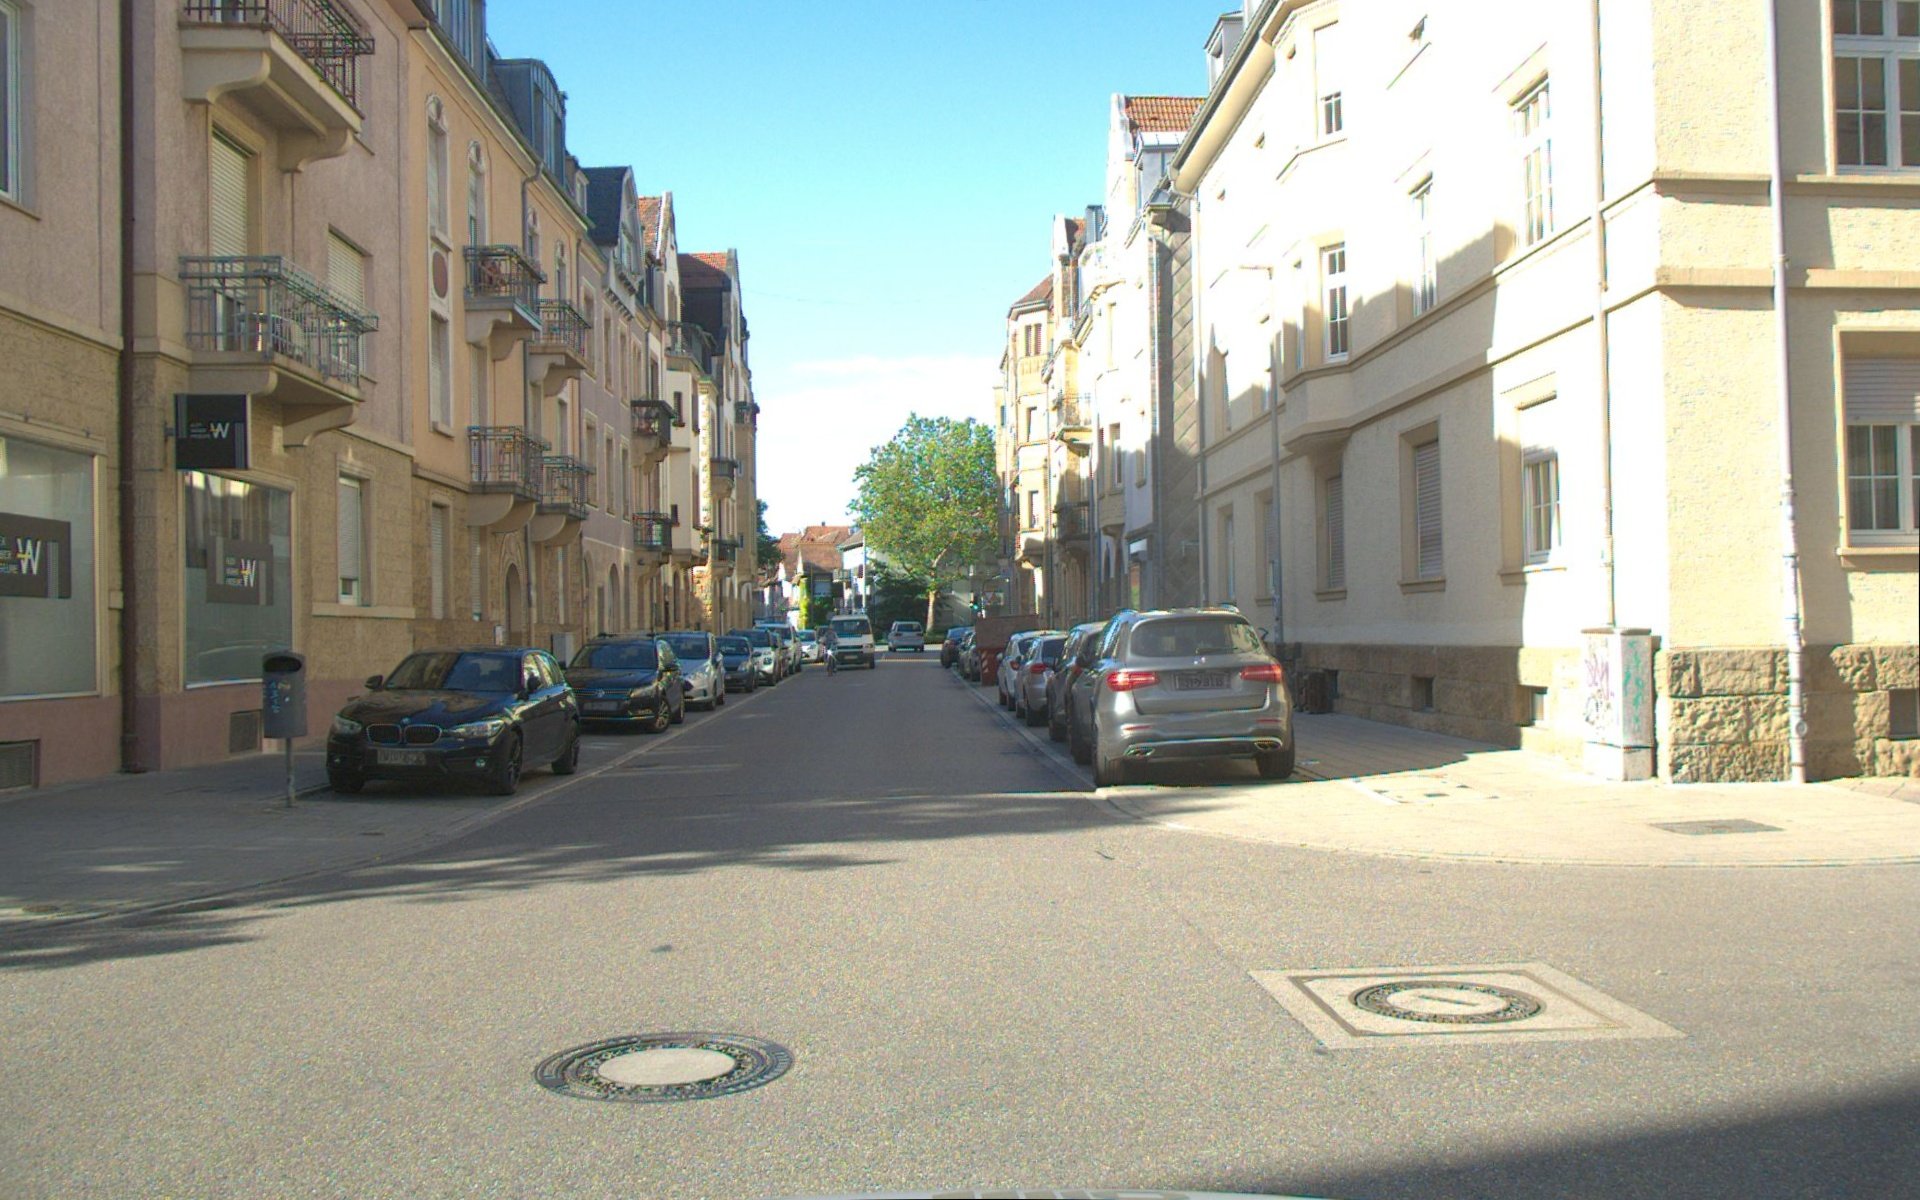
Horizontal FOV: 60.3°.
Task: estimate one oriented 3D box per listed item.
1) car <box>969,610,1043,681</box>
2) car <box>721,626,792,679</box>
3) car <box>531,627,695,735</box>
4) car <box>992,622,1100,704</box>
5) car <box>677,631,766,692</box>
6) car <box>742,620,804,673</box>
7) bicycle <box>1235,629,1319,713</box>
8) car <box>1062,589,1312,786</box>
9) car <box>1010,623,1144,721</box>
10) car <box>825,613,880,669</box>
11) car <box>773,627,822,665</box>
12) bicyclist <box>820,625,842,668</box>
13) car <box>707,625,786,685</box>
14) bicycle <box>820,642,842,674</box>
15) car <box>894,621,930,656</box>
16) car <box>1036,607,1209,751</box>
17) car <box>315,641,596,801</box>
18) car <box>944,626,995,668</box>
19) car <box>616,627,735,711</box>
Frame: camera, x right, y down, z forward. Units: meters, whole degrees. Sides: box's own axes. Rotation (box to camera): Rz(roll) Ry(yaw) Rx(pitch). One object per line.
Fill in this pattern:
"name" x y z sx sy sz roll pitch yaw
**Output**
"car" 1.238 1.307 46.084 1.801 1.818 4.026 -2 -3 -2
"car" -6.607 1.710 54.163 1.963 1.647 4.484 1 -2 -3
"car" -5.650 1.303 27.458 1.963 1.610 4.484 1 -2 -3
"car" 1.671 1.281 33.298 1.801 1.456 4.026 -3 -2 -2
"car" -6.275 1.612 43.916 1.939 1.508 4.324 1 -2 -3
"car" -6.714 1.693 59.768 1.963 1.820 4.484 1 -2 -3
"bicycle" 5.091 1.109 26.742 0.746 1.268 2.590 -1 -1 -2
"car" 2.182 0.880 17.239 1.874 1.673 4.772 -3 -2 0
"car" 1.891 1.214 27.913 1.801 1.456 4.026 -3 -2 -2
"car" -4.082 1.571 63.244 1.963 2.035 4.484 1 -2 -3
"car" -7.318 2.084 74.940 1.963 1.633 4.484 1 -2 -3
"bicyclist" -4.386 1.565 56.146 0.649 1.410 0.753 -3 -2 -3
"car" -6.226 1.603 48.674 1.963 1.647 4.484 1 -2 -3
"bicycle" -4.378 1.962 56.118 0.649 1.037 2.065 -3 -2 -3
"car" -2.812 2.243 96.036 1.963 1.947 4.484 1 -2 -2
"car" 2.044 1.031 21.854 1.710 1.636 4.026 -3 -2 -2
"car" -5.111 1.178 17.354 1.645 1.451 4.272 1 -2 -1
"car" 0.355 1.873 64.871 1.801 1.456 4.026 -3 -3 -2
"car" -5.963 1.442 35.149 1.963 1.647 4.484 1 -2 -3
